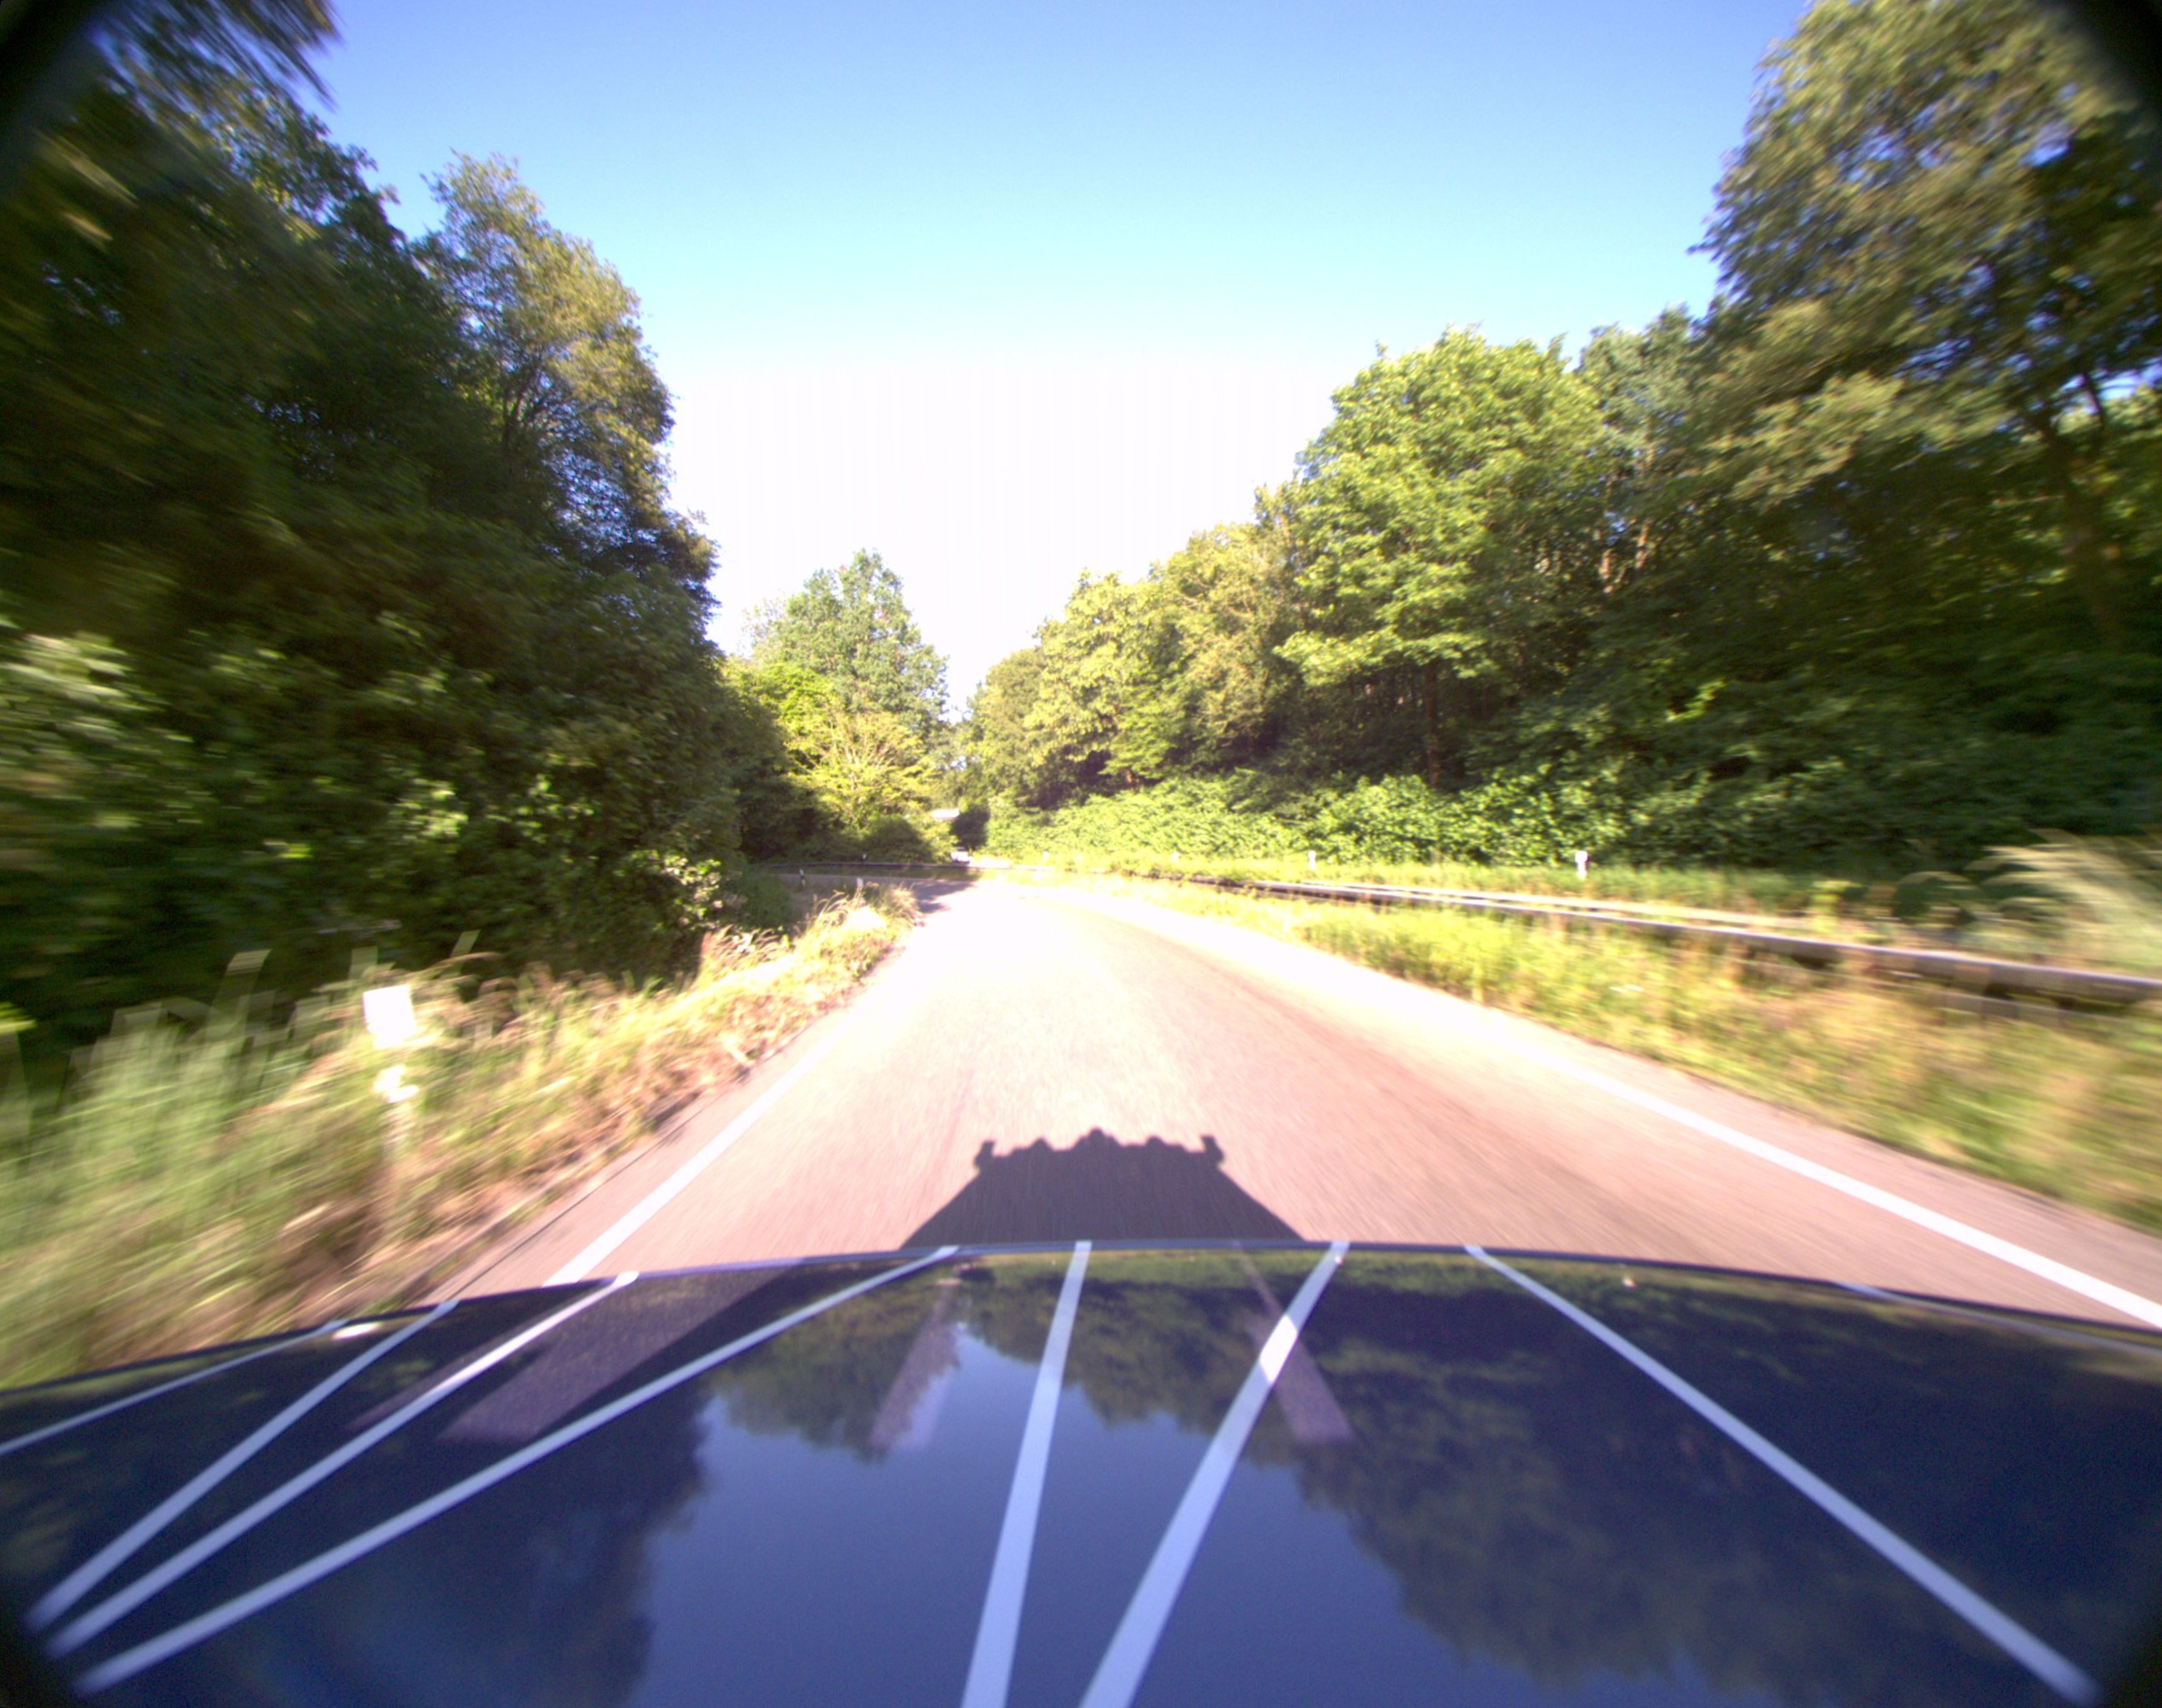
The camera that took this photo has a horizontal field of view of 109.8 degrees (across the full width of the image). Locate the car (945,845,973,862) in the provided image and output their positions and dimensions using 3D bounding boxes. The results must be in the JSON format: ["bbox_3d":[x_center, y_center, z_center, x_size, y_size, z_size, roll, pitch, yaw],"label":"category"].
[{"bbox_3d":[-10.996,-0.088,68.375,1.728,1.479,3.993,-2,1,-19],"label":"car"}]
